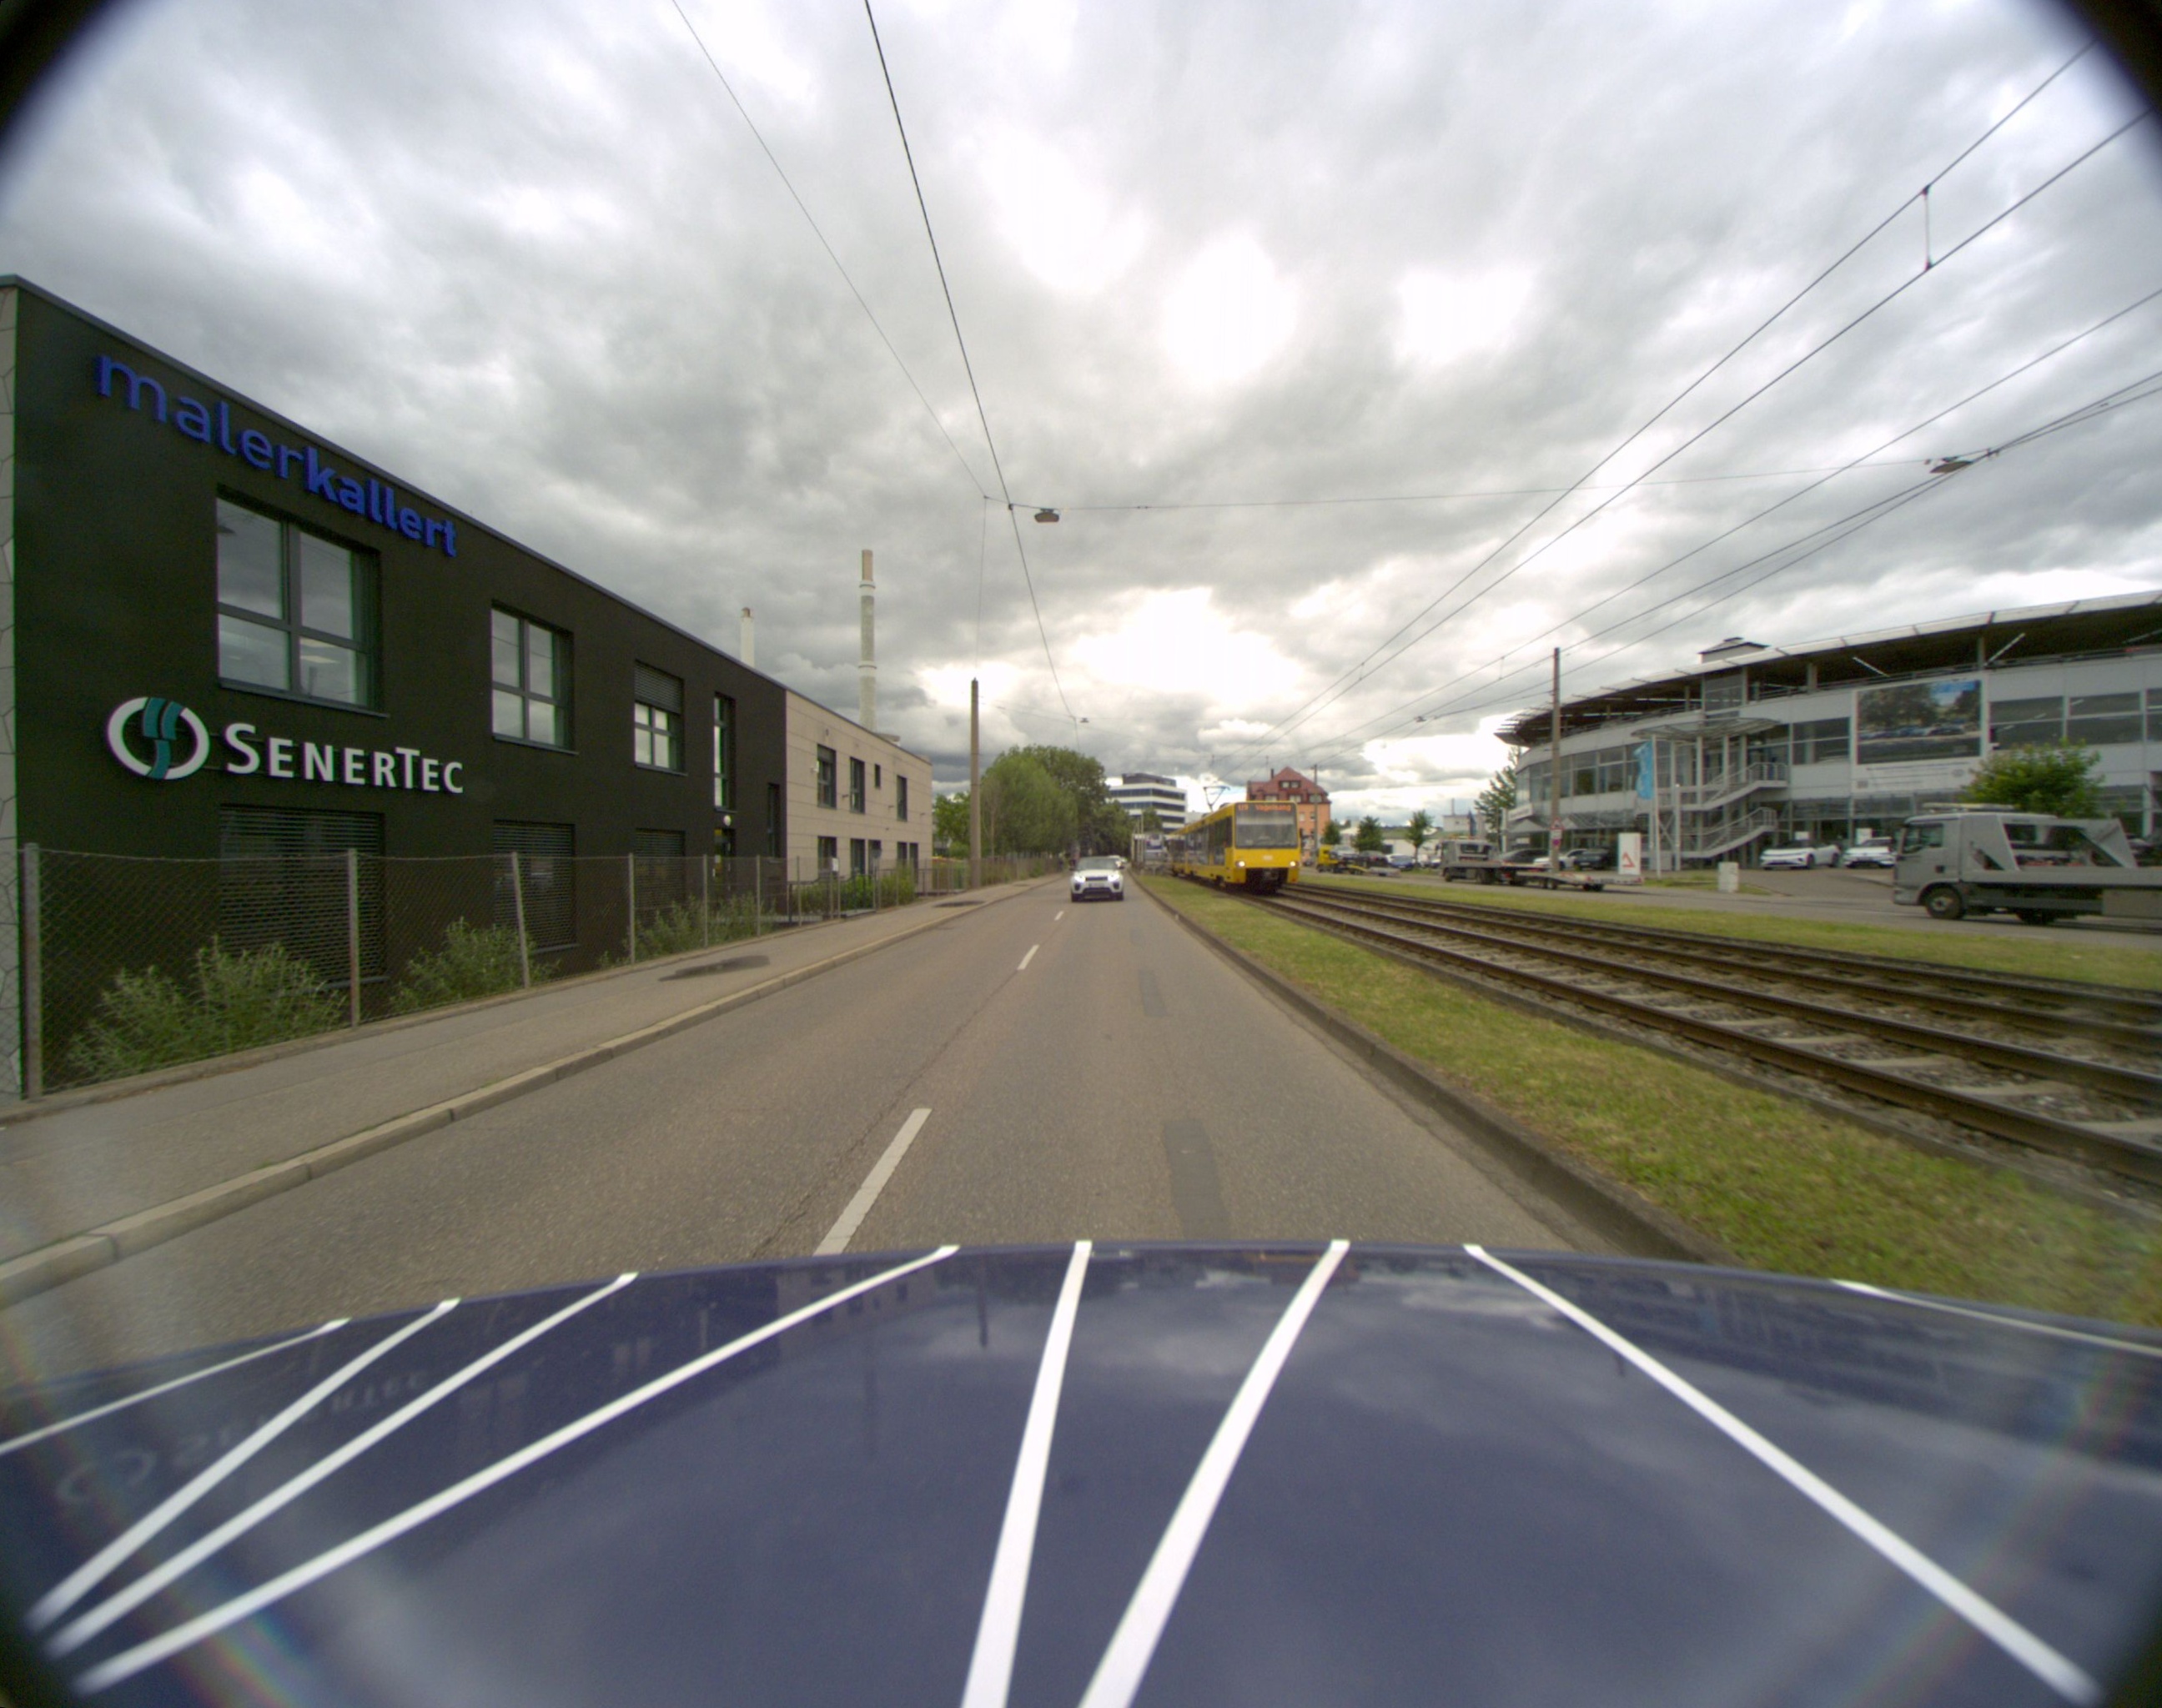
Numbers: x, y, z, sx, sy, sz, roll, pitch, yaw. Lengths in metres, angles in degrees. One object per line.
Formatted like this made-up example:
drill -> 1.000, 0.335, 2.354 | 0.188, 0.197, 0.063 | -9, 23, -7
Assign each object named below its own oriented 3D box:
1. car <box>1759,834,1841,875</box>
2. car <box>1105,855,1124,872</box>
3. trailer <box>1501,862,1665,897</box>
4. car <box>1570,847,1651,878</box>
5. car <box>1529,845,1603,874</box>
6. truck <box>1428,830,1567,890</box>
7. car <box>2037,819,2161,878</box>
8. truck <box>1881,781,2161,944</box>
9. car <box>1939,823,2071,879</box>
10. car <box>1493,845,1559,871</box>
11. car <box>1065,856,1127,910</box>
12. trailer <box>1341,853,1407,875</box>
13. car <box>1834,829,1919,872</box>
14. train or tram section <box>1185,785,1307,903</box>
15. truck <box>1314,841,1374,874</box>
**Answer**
car -> 37.547, 0.023, 39.675 | 4.006, 2.002, 1.995 | 0, 0, -29
car -> 3.731, 1.067, 84.702 | 1.998, 1.881, 4.627 | 0, 0, 1
trailer -> 22.357, 1.090, 34.421 | 3.056, 1.270, 7.008 | 2, 0, 3
car -> 34.008, 0.537, 48.857 | 4.000, 1.936, 1.998 | 0, 0, -10
car -> 33.579, 0.366, 52.621 | 4.000, 1.936, 1.998 | 0, 0, -10
truck -> 22.812, 0.292, 42.397 | 3.114, 2.904, 8.963 | 2, 0, 3
car -> 37.498, -0.191, 27.694 | 1.994, 2.002, 4.008 | 0, 0, 31
truck -> 21.191, 0.191, 14.756 | 2.869, 2.964, 8.458 | 2, 0, 5
car -> 35.647, -0.112, 29.467 | 1.994, 2.002, 4.008 | 0, 0, 31
car -> 34.192, 0.288, 58.521 | 3.992, 1.936, 2.002 | 0, 0, 15
car -> 0.621, 0.992, 27.474 | 1.998, 1.717, 4.001 | -2, 0, 3
trailer -> 23.917, 0.813, 62.542 | 2.984, 1.678, 7.571 | -1, 0, 4
car -> 39.660, -0.169, 37.867 | 4.006, 2.002, 1.995 | 0, 0, -29
train or tram section -> 6.860, -0.411, 34.753 | 3.395, 3.984, 16.950 | -2, 0, 6
truck -> 24.334, 0.326, 70.864 | 3.056, 2.842, 9.069 | -1, 0, 4
